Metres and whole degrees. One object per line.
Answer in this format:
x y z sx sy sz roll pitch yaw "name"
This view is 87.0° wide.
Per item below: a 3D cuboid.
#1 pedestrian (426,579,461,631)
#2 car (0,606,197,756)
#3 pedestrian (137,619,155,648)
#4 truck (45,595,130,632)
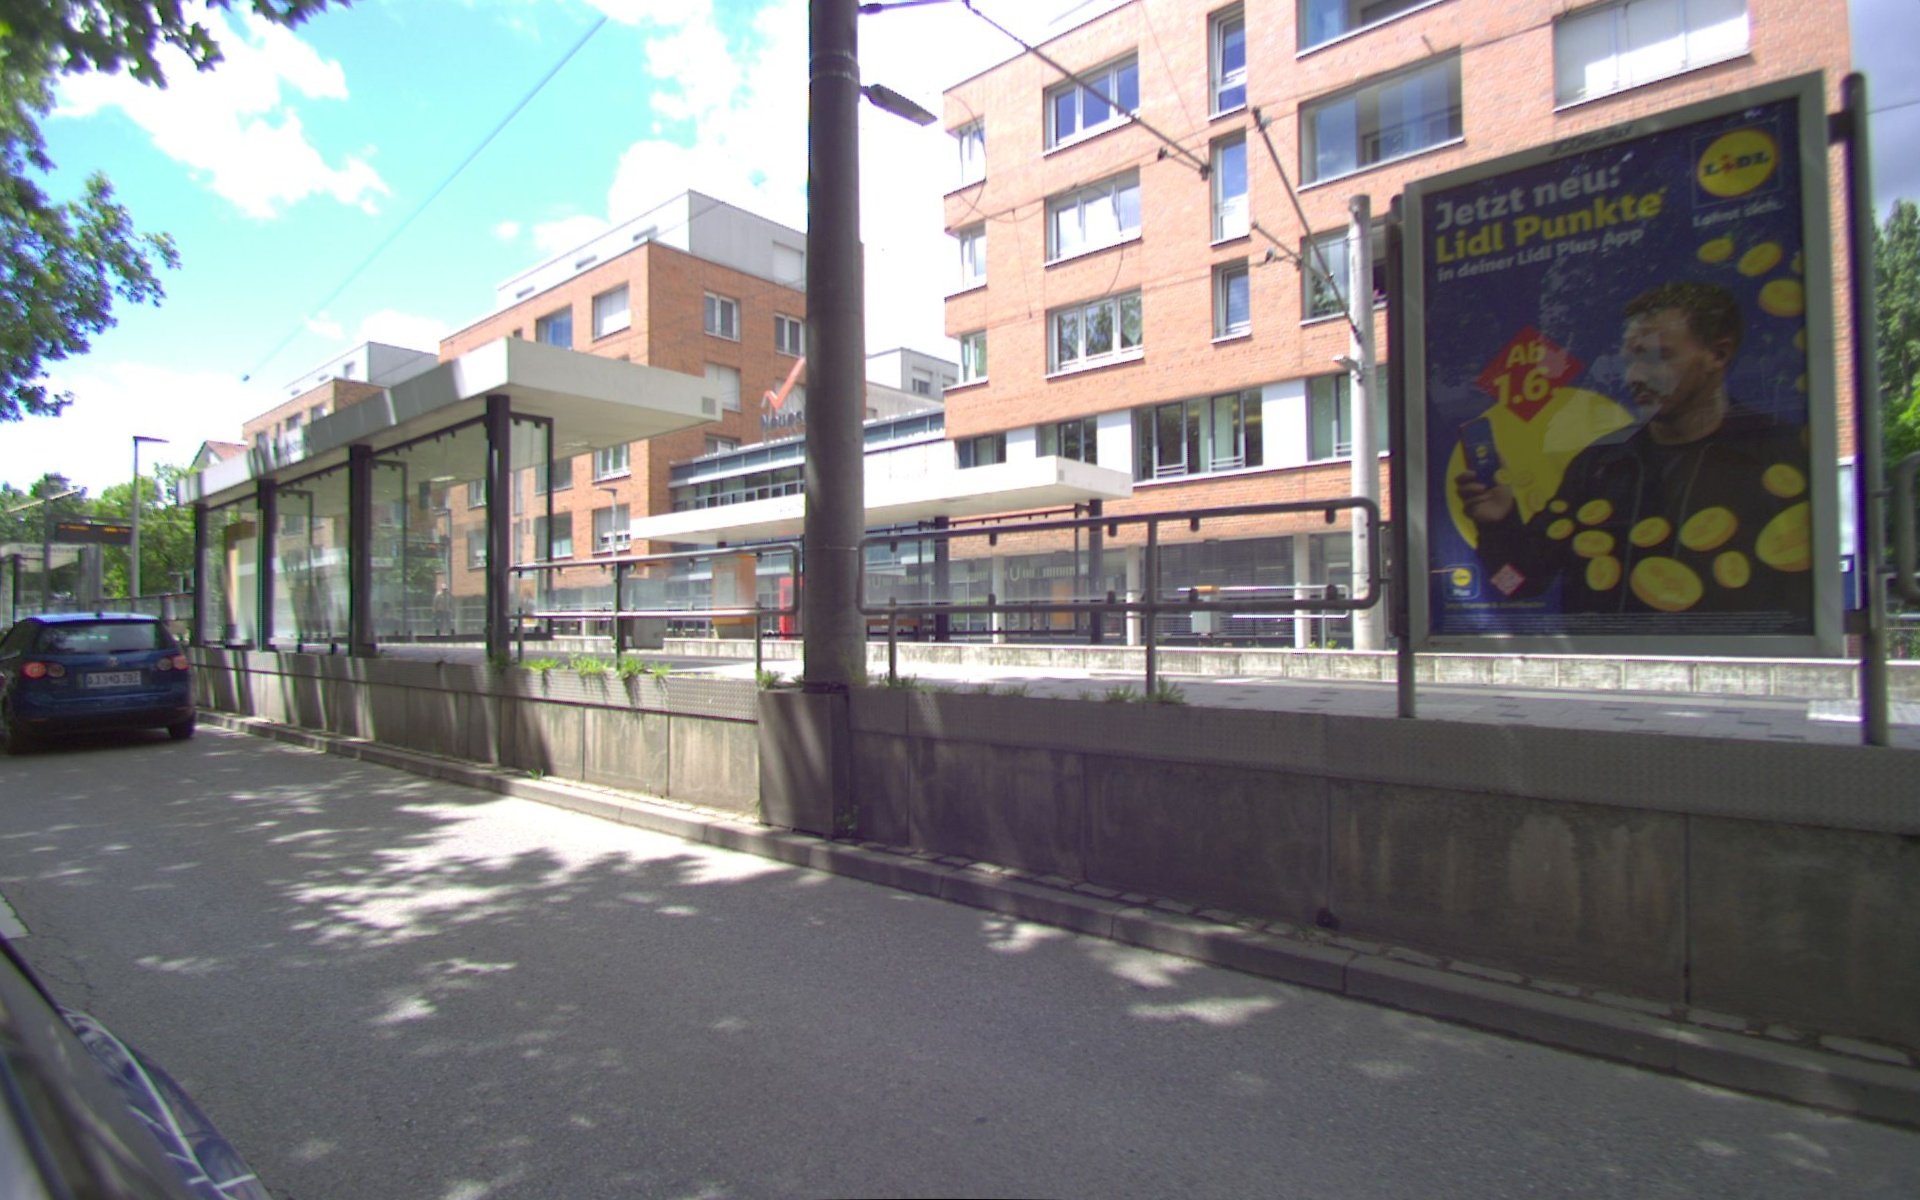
-16.546 0.160 32.406 0.815 1.641 0.743 -2 -1 41 "pedestrian"
-11.008 0.875 12.557 3.858 1.576 1.679 -1 -1 40 "car"
-52.331 2.166 65.083 0.828 1.839 0.736 -2 -3 39 "pedestrian"
-103.324 1.699 120.058 2.590 4.124 9.622 0 -2 -7 "truck"
